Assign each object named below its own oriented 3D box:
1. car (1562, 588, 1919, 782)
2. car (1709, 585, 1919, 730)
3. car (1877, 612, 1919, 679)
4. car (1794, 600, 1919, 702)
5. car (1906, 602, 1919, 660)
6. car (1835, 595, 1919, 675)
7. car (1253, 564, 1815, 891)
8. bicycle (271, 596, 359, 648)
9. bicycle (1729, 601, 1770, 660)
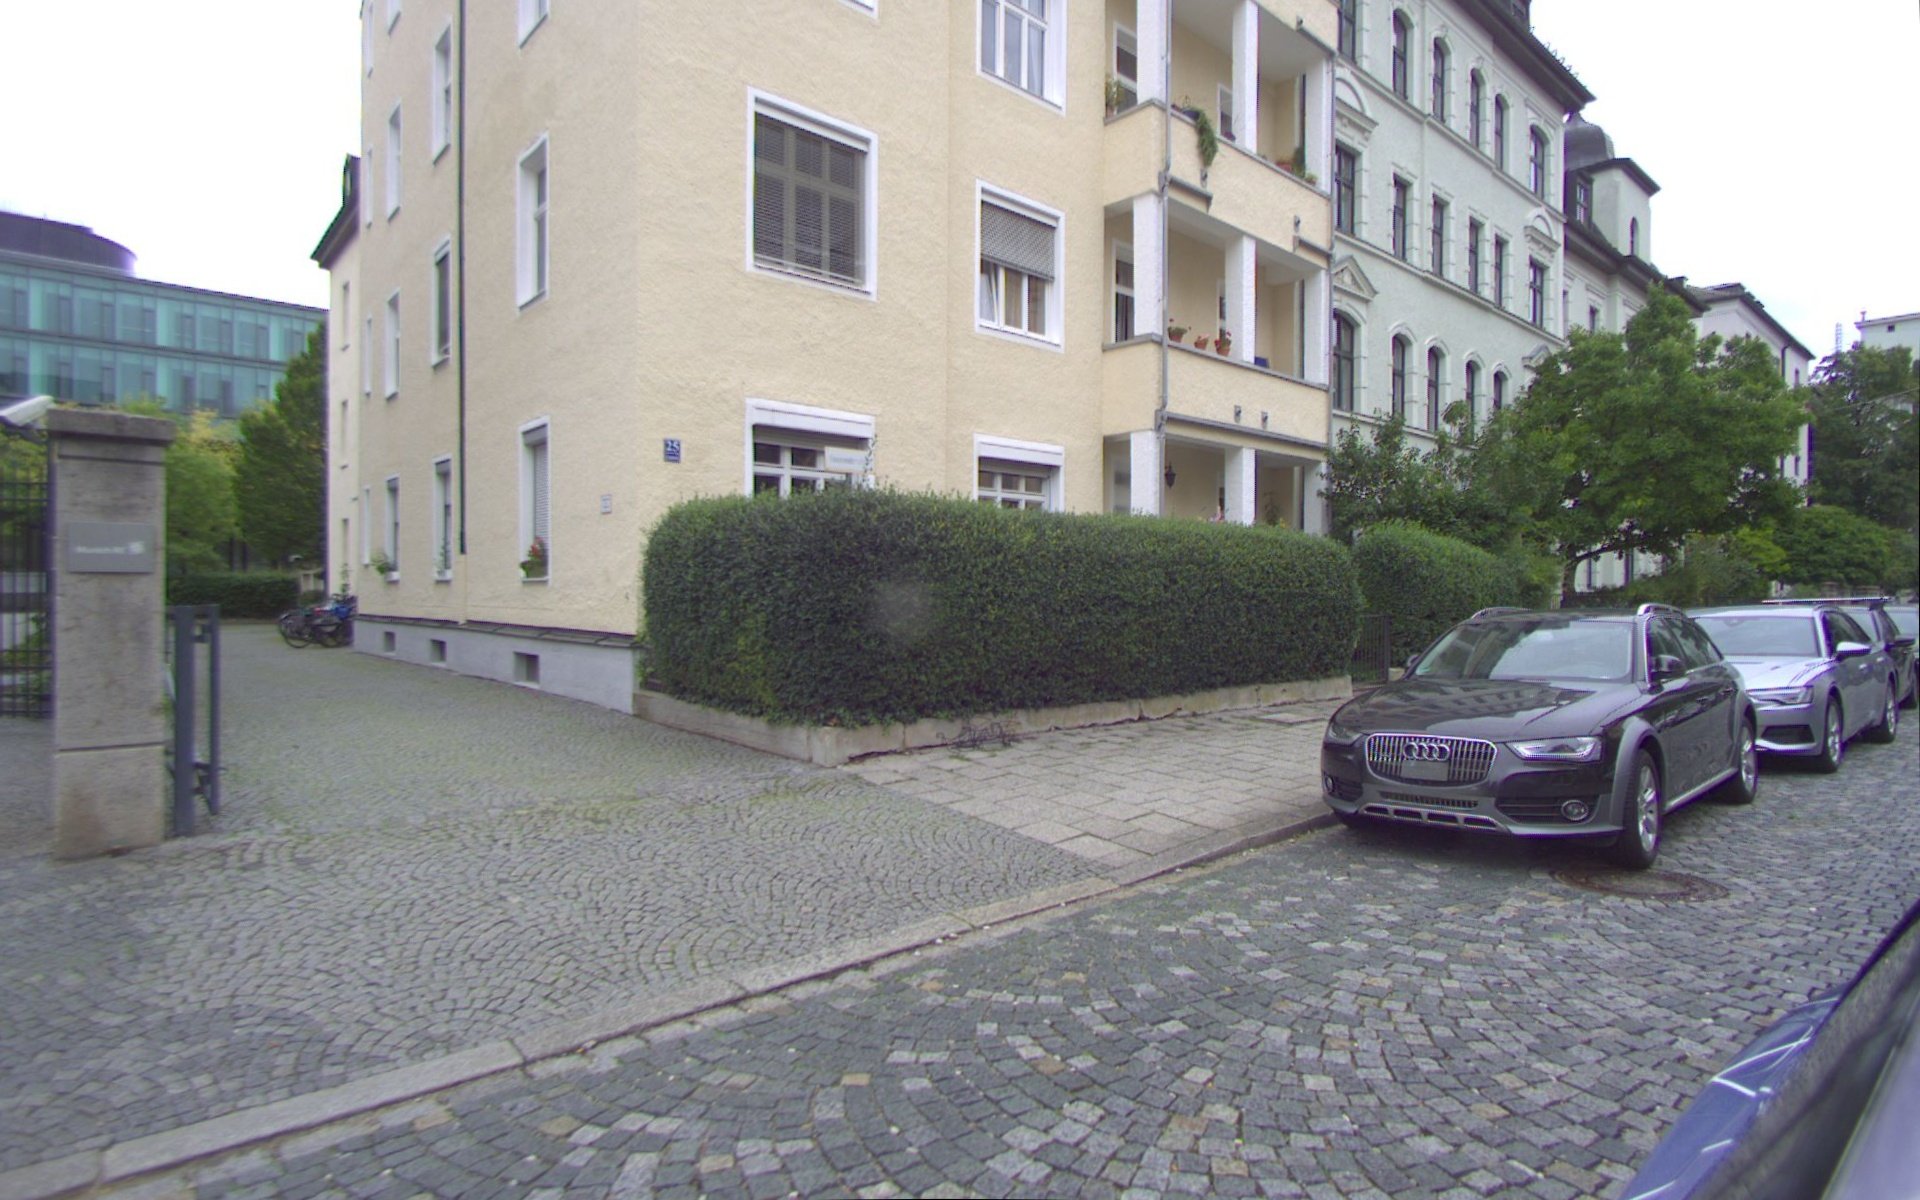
[{"bbox_3d":[8.309,0.700,10.574,4.898,1.572,1.997,0,-1,-41],"label":"car"},{"bbox_3d":[11.922,0.667,13.818,4.220,1.675,1.896,0,-1,-42],"label":"car"},{"bbox_3d":[23.345,1.022,24.025,4.402,1.478,1.758,0,-2,-41],"label":"car"},{"bbox_3d":[15.831,0.772,17.111,4.961,1.508,1.821,0,-2,-41],"label":"car"},{"bbox_3d":[27.547,0.779,27.666,5.016,1.522,1.907,0,-2,-41],"label":"car"},{"bbox_3d":[19.562,0.654,20.637,4.729,1.508,1.885,0,-2,-41],"label":"car"},{"bbox_3d":[4.371,0.639,7.288,4.927,1.572,1.996,0,-2,-41],"label":"car"},{"bbox_3d":[-16.123,0.524,25.300,1.815,1.244,0.794,0,0,-36],"label":"bicycle"},{"bbox_3d":[16.913,0.633,21.703,0.578,1.210,1.628,0,0,34],"label":"bicycle"}]
